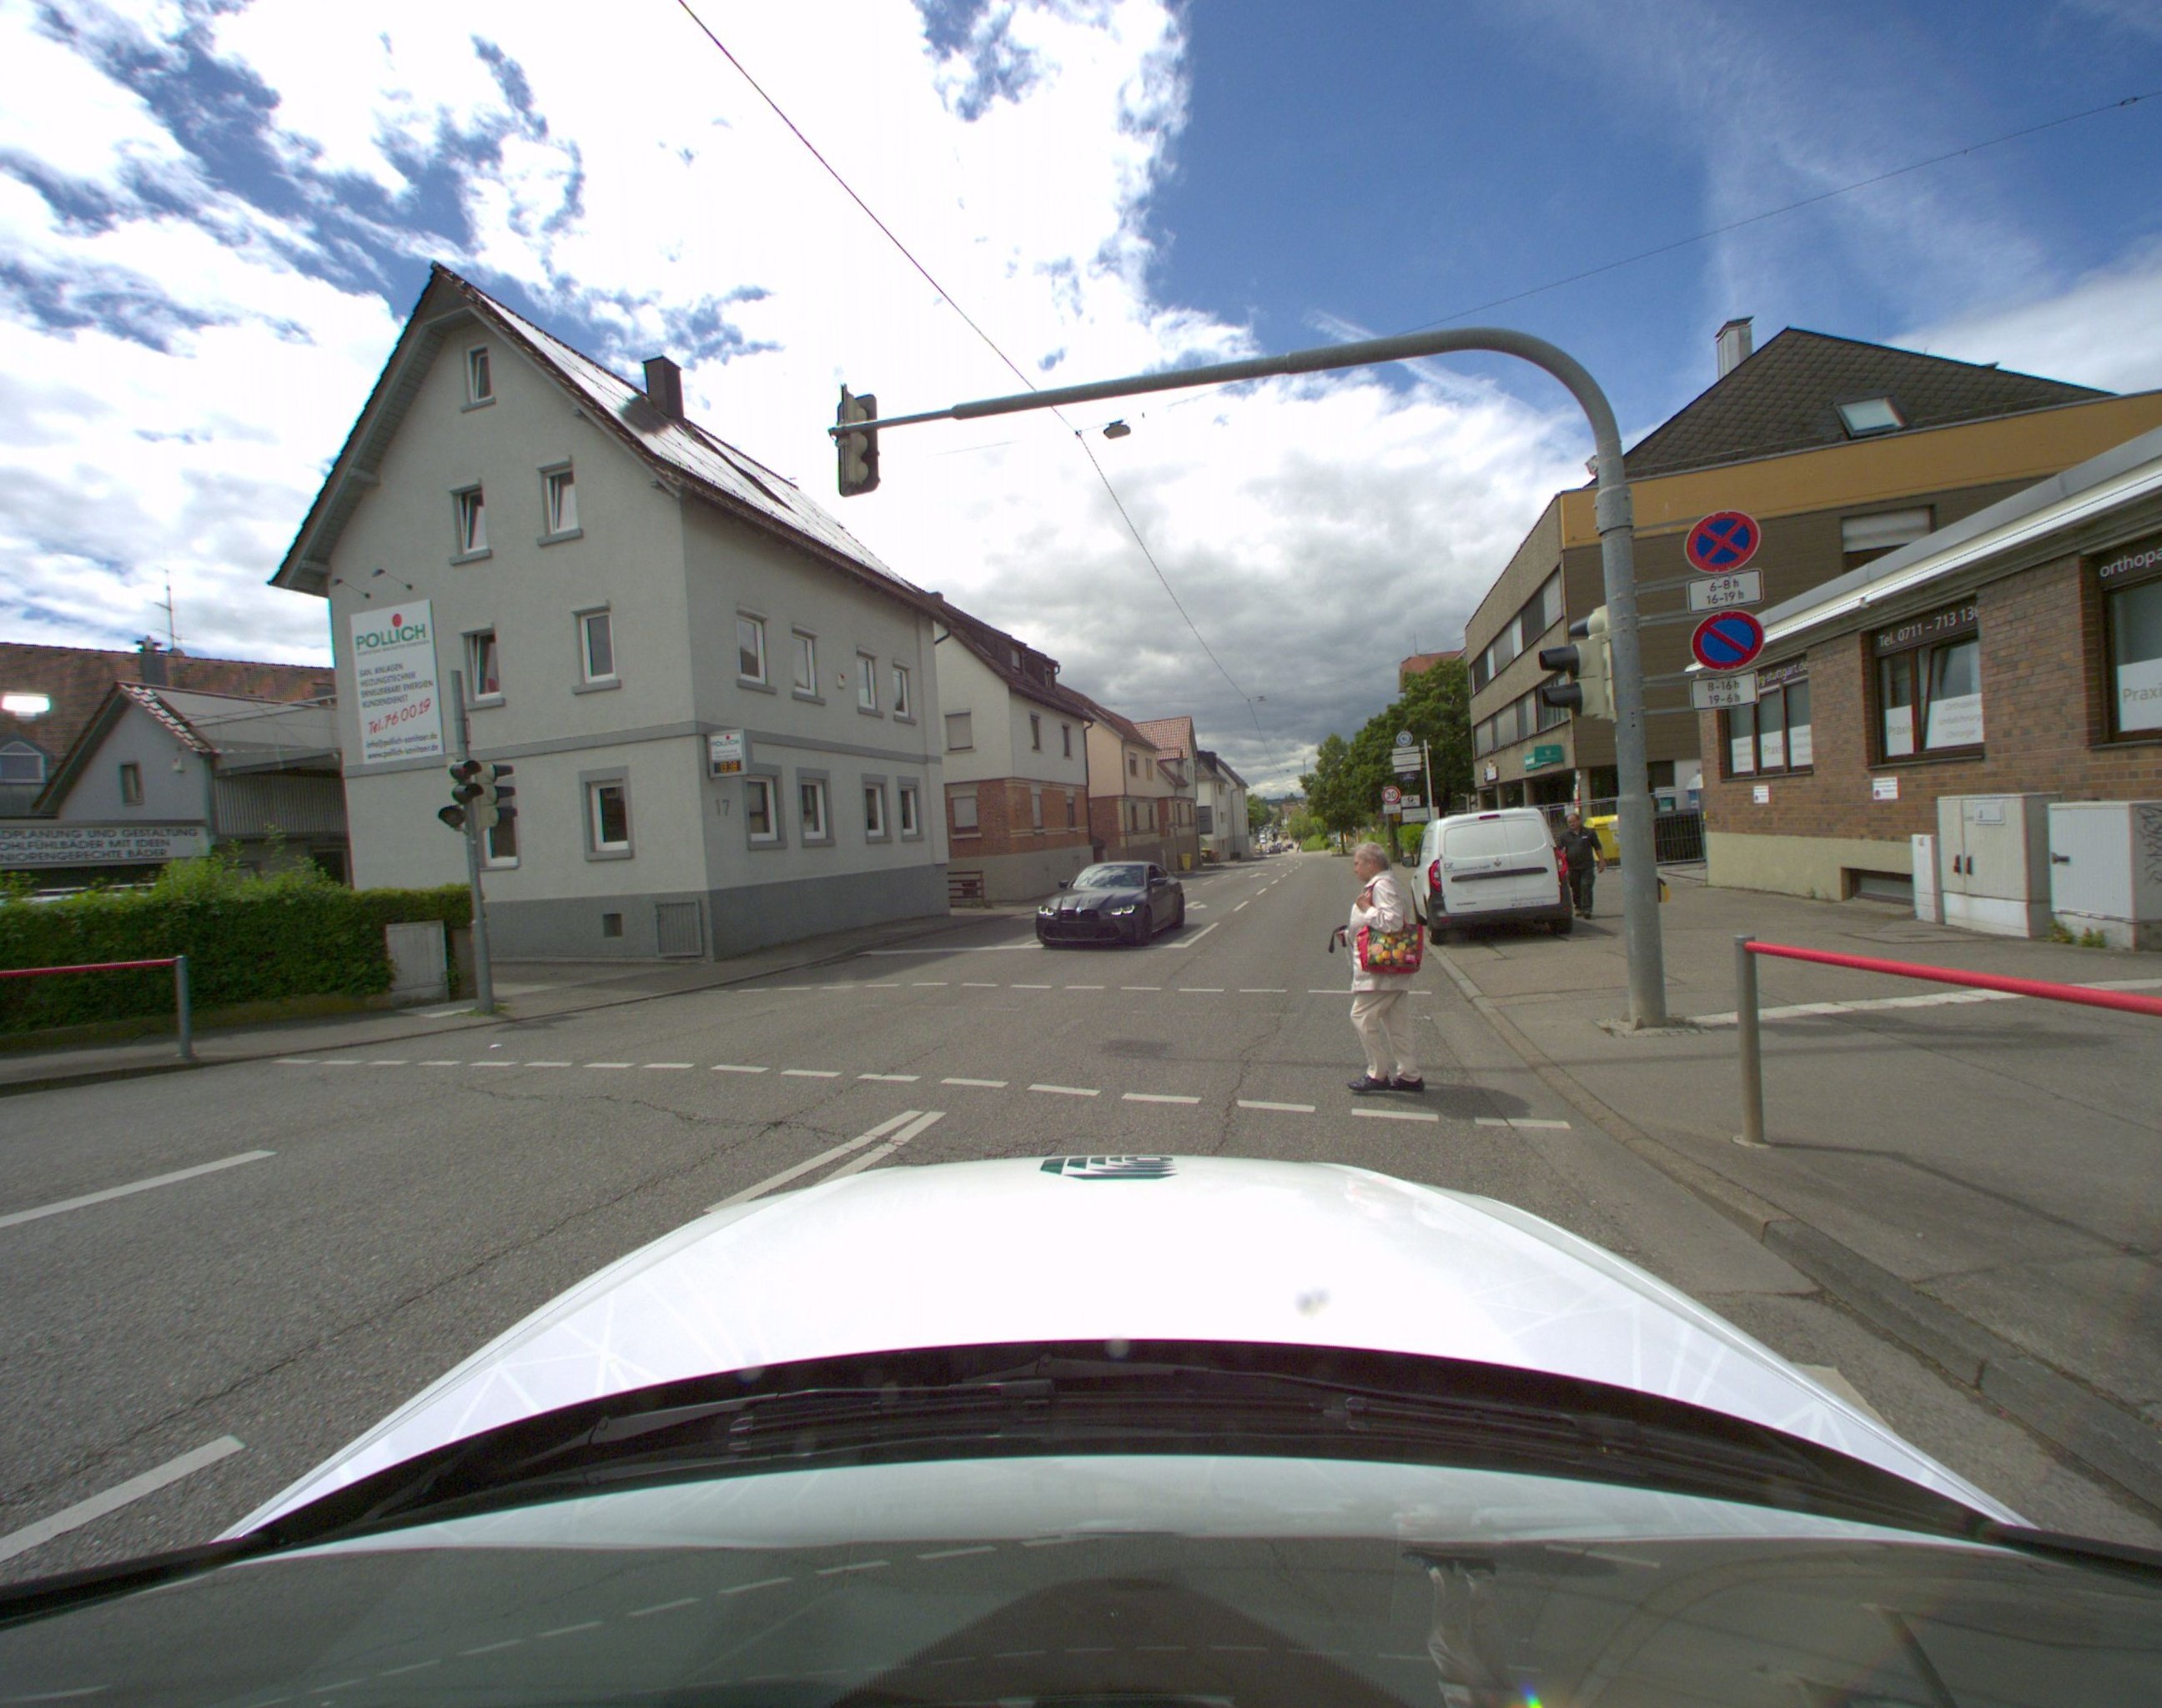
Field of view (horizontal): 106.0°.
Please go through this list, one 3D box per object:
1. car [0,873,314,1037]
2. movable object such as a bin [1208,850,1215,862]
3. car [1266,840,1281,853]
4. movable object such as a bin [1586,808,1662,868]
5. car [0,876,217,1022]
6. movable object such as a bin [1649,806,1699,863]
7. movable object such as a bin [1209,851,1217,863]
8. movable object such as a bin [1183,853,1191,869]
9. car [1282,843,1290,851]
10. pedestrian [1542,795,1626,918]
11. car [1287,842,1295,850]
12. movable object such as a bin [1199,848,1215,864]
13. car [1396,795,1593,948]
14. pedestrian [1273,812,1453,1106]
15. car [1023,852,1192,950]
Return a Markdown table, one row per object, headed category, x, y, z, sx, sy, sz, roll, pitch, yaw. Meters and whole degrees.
| category | x | y | z | sx | sy | sz | roll | pitch | yaw |
| --- | --- | --- | --- | --- | --- | --- | --- | --- | --- |
| car | -14.383 | 1.402 | 11.926 | 1.977 | 1.947 | 4.019 | -5 | 0 | 18 |
| movable object such as a bin | 11.790 | 0.187 | 73.478 | 0.527 | 1.030 | 0.457 | -4 | 0 | 15 |
| car | 32.092 | -1.296 | 135.969 | 1.982 | 2.013 | 4.009 | -3 | 0 | 8 |
| movable object such as a bin | 15.034 | -0.450 | 22.581 | 1.470 | 1.492 | 1.082 | -4 | 2 | 20 |
| car | -16.637 | 1.506 | 12.540 | 1.977 | 2.013 | 4.020 | -4 | 0 | 19 |
| movable object such as a bin | 16.090 | -0.543 | 22.116 | 0.773 | 1.439 | 1.023 | -4 | 2 | 20 |
| movable object such as a bin | 11.866 | 0.236 | 73.189 | 0.527 | 1.030 | 0.457 | -4 | 0 | 15 |
| movable object such as a bin | 7.370 | 0.483 | 56.575 | 0.428 | 1.128 | 0.300 | -5 | 0 | 16 |
| car | 55.524 | -1.765 | 220.408 | 1.980 | 2.013 | 4.014 | -4 | -1 | 13 |
| pedestrian | 7.825 | 0.043 | 12.711 | 0.836 | 1.803 | 0.654 | -5 | -1 | 17 |
| car | 60.495 | -2.282 | 234.878 | 1.980 | 2.013 | 4.014 | -4 | -1 | 13 |
| movable object such as a bin | 11.164 | 0.153 | 72.269 | 1.273 | 1.310 | 0.819 | -4 | 0 | 11 |
| car | 6.223 | 0.203 | 12.841 | 1.896 | 1.794 | 4.512 | -8 | -1 | 18 |
| pedestrian | 1.800 | 0.593 | 5.137 | 0.862 | 1.637 | 0.842 | -3 | 2 | 28 |
| car | 0.698 | 0.762 | 15.267 | 1.978 | 1.457 | 4.638 | -2 | 1 | 17 |
